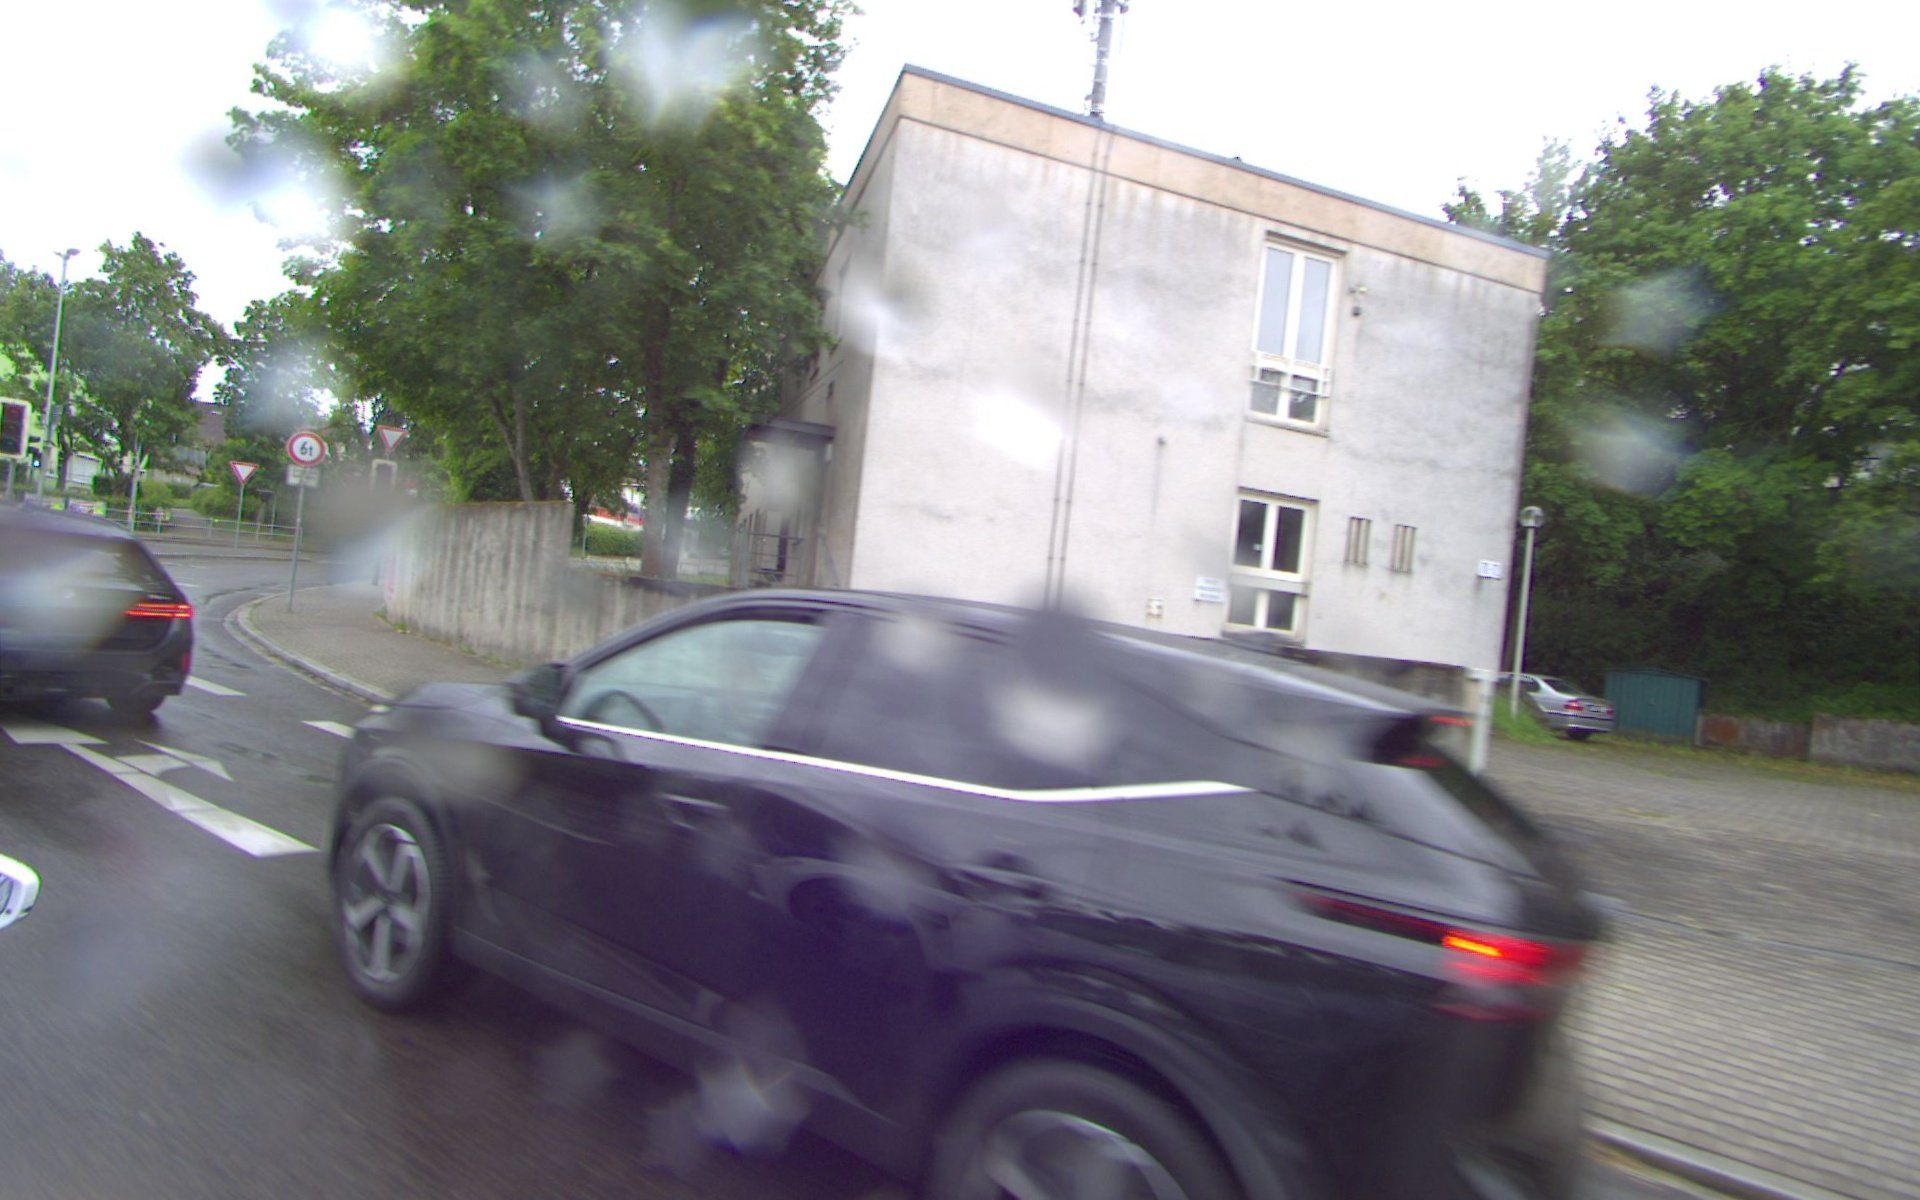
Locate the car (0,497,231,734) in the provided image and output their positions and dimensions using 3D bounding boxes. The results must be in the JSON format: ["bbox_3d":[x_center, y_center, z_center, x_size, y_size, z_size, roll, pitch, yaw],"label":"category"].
[{"bbox_3d":[-7.954,-0.097,7.843,4.698,1.476,1.908,7,0,31],"label":"car"}]

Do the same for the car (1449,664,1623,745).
[{"bbox_3d":[13.794,2.467,24.285,1.460,1.393,3.429,6,0,-19],"label":"car"}]

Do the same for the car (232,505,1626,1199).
[{"bbox_3d":[-0.393,0.744,3.387,4.183,1.622,1.793,7,-1,32],"label":"car"}]
